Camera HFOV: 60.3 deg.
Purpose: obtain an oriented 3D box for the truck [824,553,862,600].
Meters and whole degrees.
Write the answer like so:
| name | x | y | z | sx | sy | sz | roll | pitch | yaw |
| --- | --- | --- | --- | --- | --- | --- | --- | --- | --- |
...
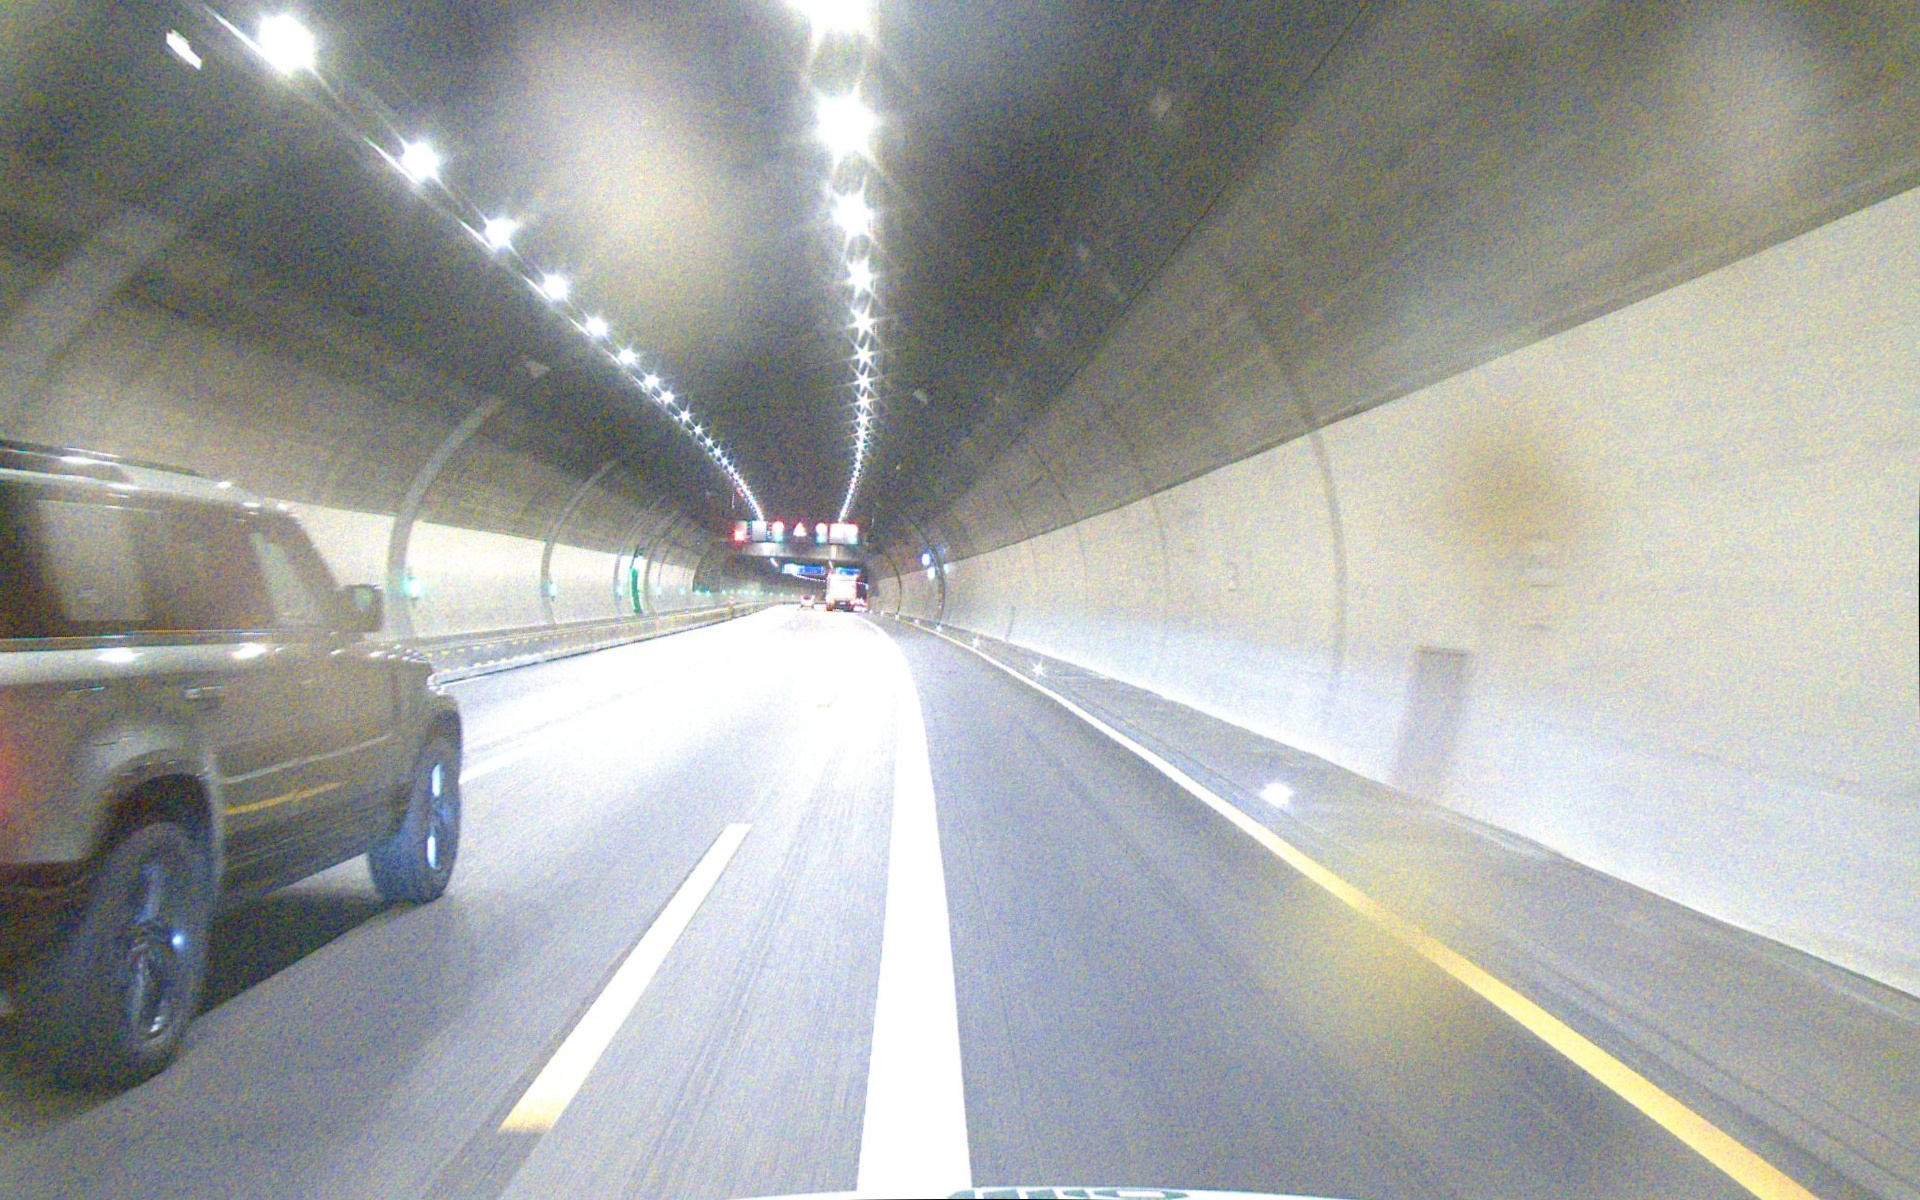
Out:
| name | x | y | z | sx | sy | sz | roll | pitch | yaw |
| --- | --- | --- | --- | --- | --- | --- | --- | --- | --- |
| truck | -11.410 | -2.271 | 160.038 | 3.406 | 4.391 | 10.940 | 1 | 1 | -5 |

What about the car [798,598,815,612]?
| name | x | y | z | sx | sy | sz | roll | pitch | yaw |
| --- | --- | --- | --- | --- | --- | --- | --- | --- | --- |
| car | -19.123 | 0.607 | 206.064 | 1.955 | 1.609 | 3.995 | 1 | 0 | -6 |

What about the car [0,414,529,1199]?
| name | x | y | z | sx | sy | sz | roll | pitch | yaw |
| --- | --- | --- | --- | --- | --- | --- | --- | --- | --- |
| car | -3.366 | 0.480 | 6.583 | 1.953 | 1.928 | 5.452 | 1 | 0 | -1 |
